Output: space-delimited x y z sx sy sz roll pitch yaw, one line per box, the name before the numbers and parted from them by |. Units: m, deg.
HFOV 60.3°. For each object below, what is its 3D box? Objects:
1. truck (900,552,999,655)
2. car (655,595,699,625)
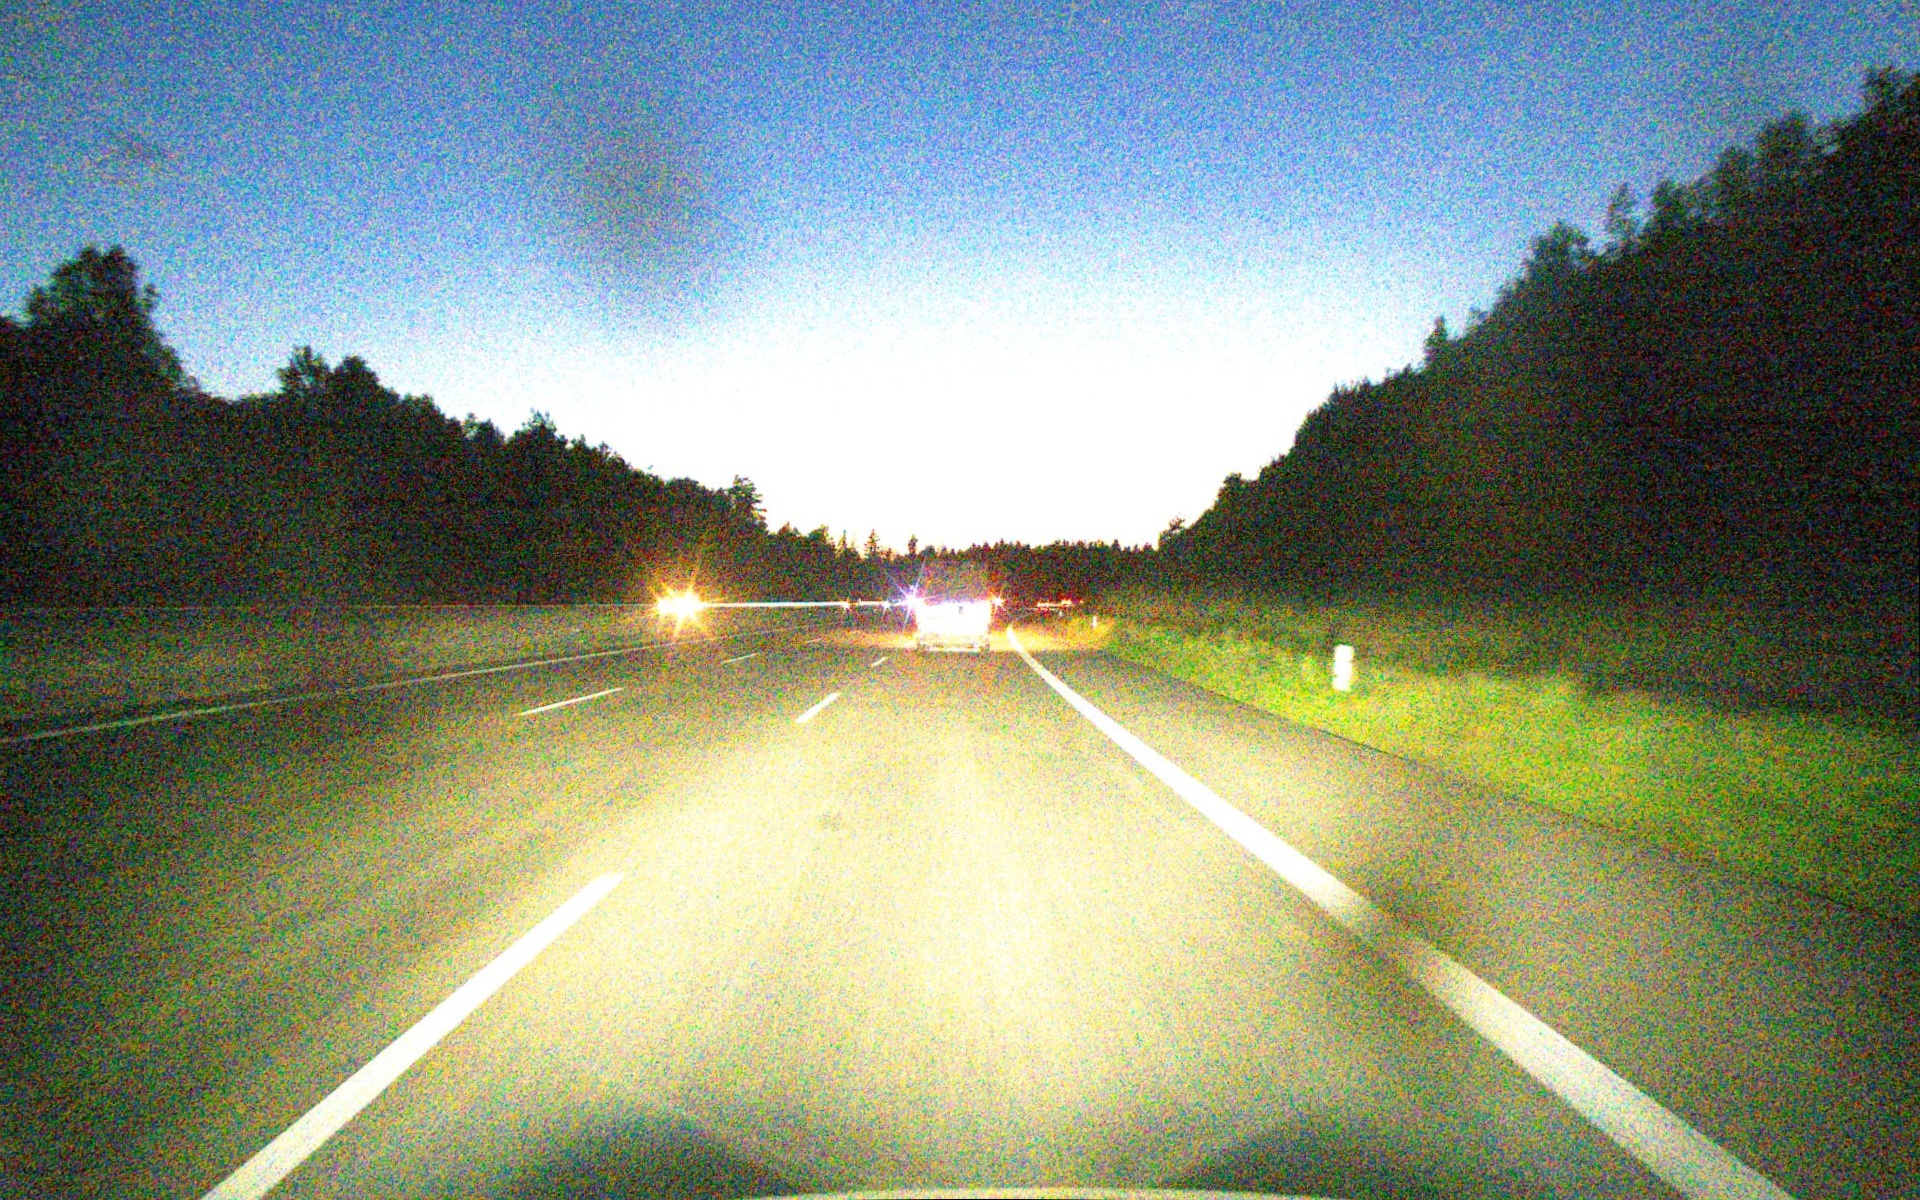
truck | -0.239 0.135 47.774 2.576 2.670 8.684 1 -1 0
car | -17.463 0.622 102.170 1.953 1.818 4.398 1 -1 -1
